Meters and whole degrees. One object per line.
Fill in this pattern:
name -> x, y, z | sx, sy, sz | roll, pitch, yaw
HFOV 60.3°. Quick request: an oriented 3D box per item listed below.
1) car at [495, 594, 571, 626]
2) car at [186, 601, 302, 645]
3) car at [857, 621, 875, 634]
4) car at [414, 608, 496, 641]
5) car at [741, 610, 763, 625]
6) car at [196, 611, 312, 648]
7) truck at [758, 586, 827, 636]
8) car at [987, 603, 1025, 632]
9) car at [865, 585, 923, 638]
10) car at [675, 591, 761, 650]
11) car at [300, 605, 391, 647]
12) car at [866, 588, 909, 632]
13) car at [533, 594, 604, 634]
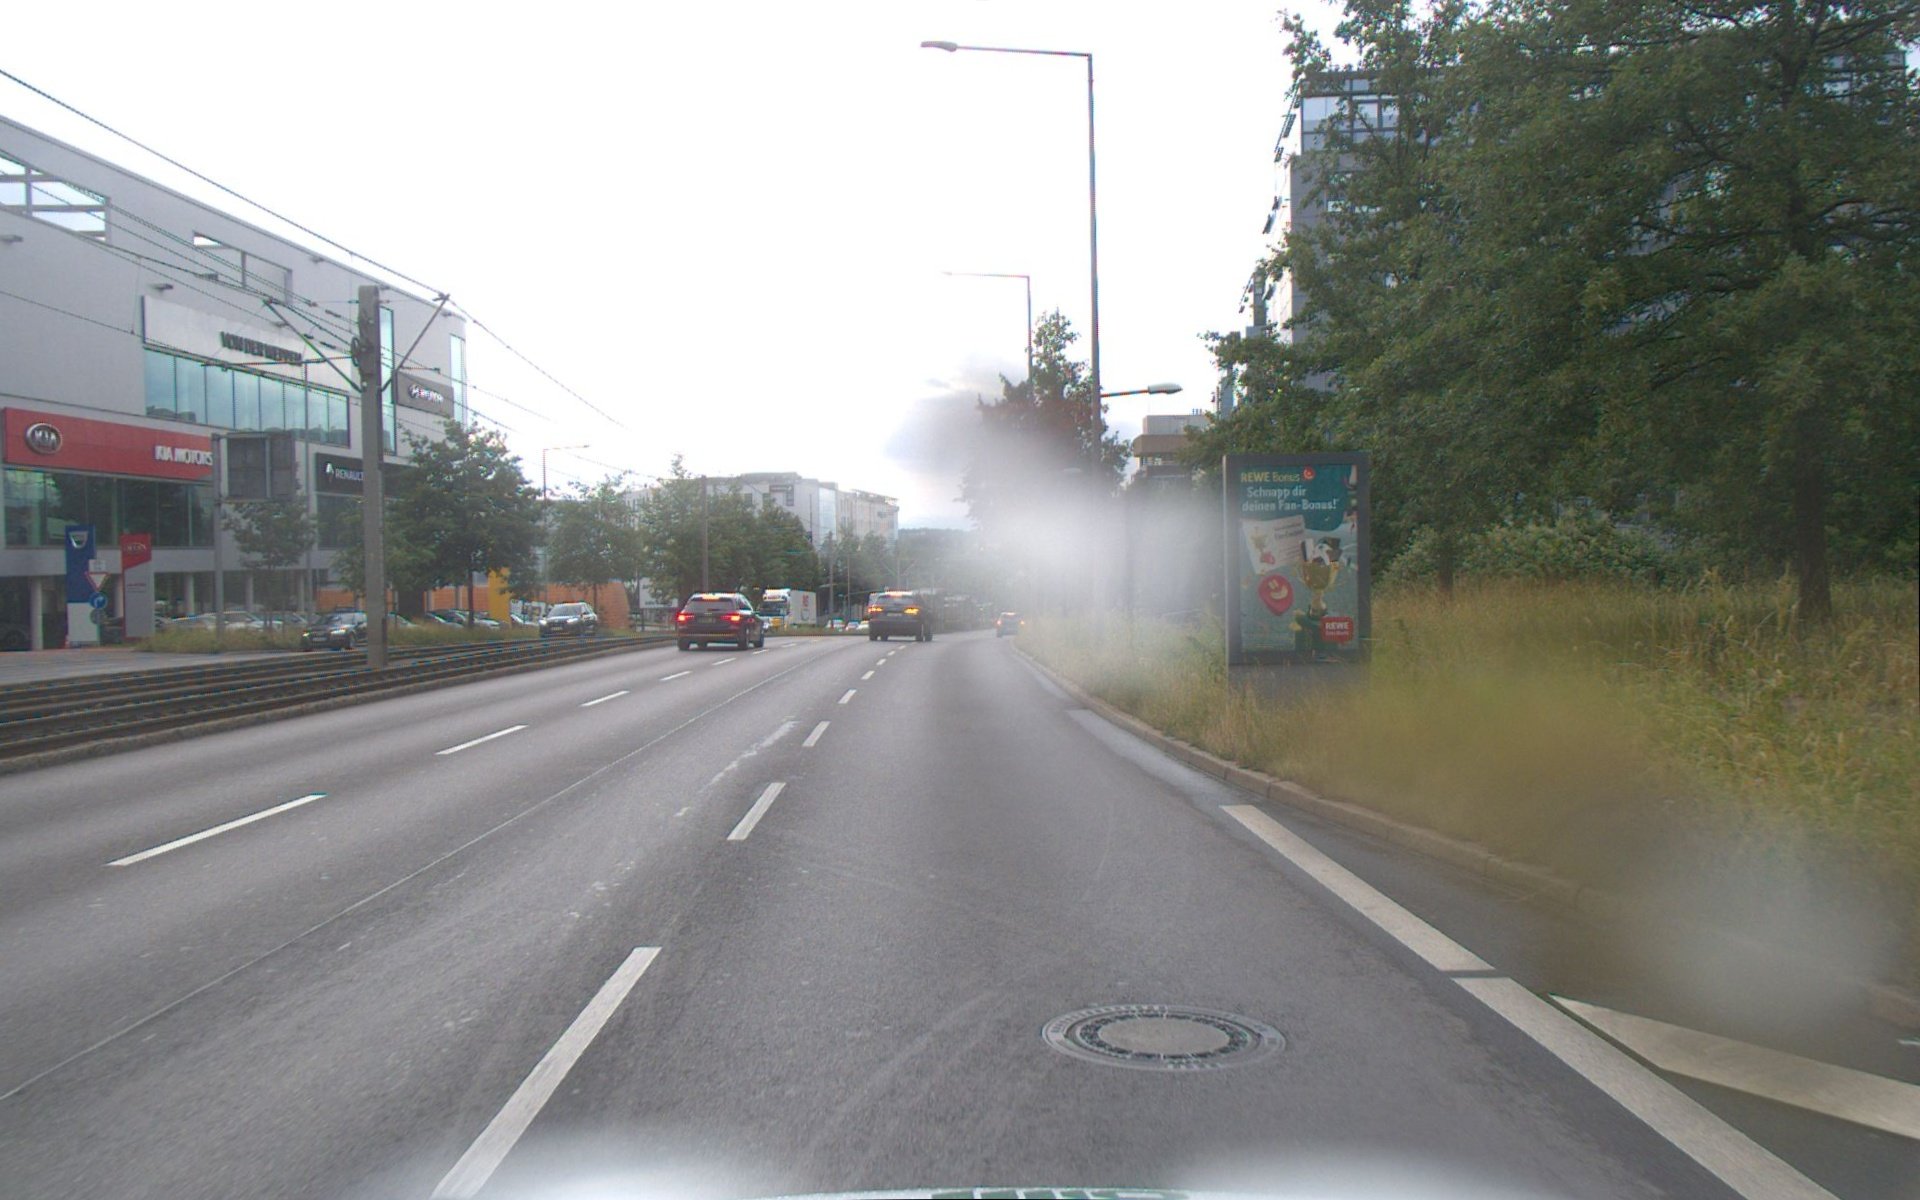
car -> -31.808, 0.758, 123.214 | 5.200, 2.353, 2.017 | 0, -1, -6
car -> -32.062, 1.032, 74.179 | 4.549, 1.859, 2.010 | -1, -1, -17
car -> -11.061, 3.289, 195.192 | 1.627, 1.467, 3.898 | 0, -1, 5
car -> -31.808, 1.536, 104.266 | 4.510, 2.011, 2.019 | -1, -1, -3
car -> -21.566, 1.846, 171.587 | 1.633, 1.487, 4.239 | 0, -1, 2
car -> -34.096, 1.434, 80.013 | 4.923, 1.683, 2.010 | -1, -1, -17
truck -> -14.959, 0.907, 149.395 | 2.977, 4.254, 17.212 | 0, 0, 5
car -> 2.687, 0.998, 97.307 | 1.754, 1.619, 3.996 | -2, 0, -4
car -> -2.288, 0.362, 56.885 | 1.884, 1.740, 4.096 | 0, 1, -3
car -> -6.238, 0.484, 43.116 | 1.750, 1.438, 4.803 | 0, 0, -3
car -> -22.449, 0.956, 60.612 | 1.633, 1.487, 4.239 | 0, -1, 2
car -> -3.919, 0.529, 90.151 | 2.222, 2.325, 4.758 | 0, 0, -1
car -> -16.931, 0.637, 71.731 | 1.767, 1.645, 4.387 | 0, -1, 4
